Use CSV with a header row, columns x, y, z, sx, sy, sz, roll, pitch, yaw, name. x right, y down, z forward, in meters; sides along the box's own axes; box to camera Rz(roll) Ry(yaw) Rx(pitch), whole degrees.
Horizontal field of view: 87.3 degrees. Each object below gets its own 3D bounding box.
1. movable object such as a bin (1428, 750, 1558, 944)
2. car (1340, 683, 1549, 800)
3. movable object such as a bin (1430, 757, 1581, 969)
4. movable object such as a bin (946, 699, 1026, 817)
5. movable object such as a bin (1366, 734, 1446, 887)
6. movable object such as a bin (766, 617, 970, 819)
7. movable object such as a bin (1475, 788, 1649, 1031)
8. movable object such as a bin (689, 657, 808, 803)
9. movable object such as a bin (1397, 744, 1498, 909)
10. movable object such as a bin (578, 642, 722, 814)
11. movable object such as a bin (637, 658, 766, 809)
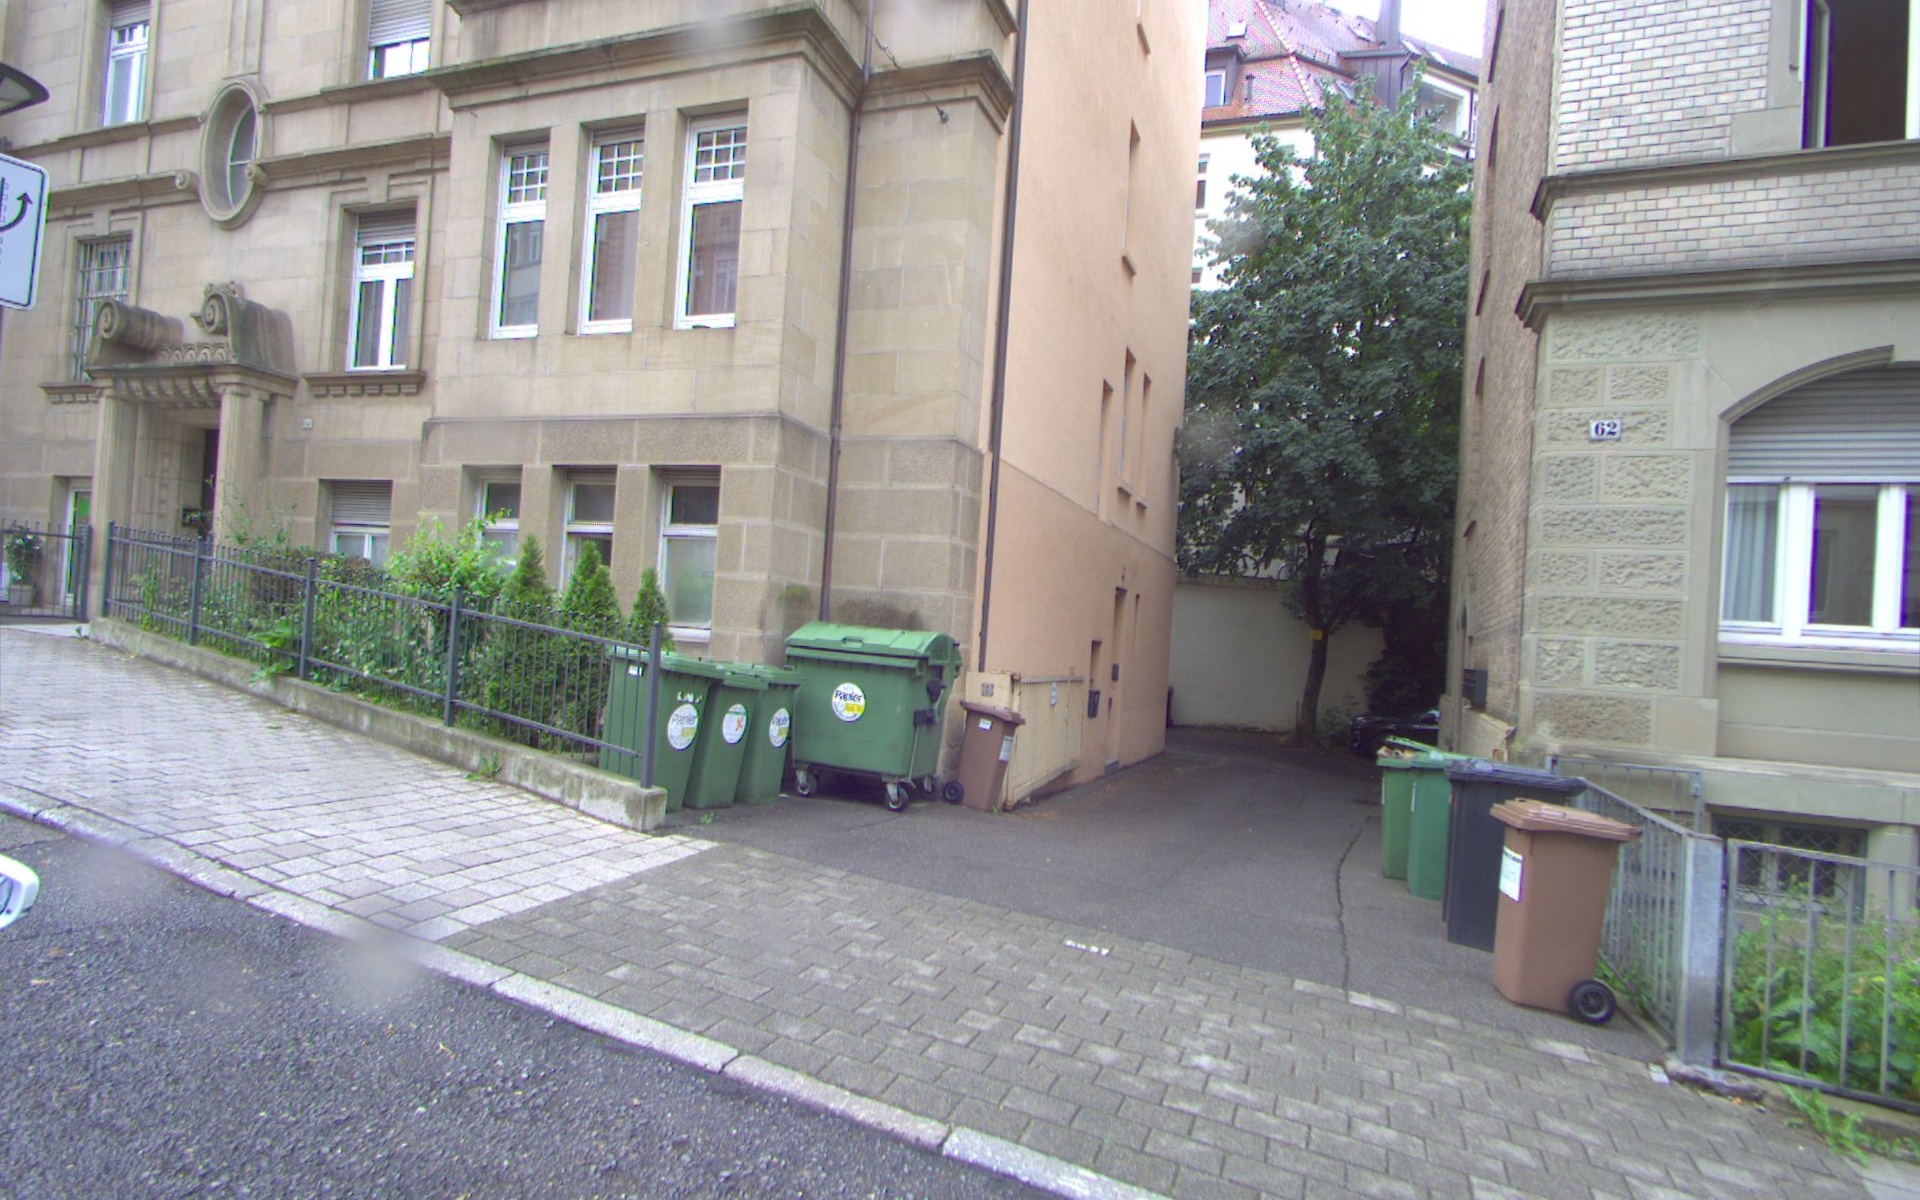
x,y,z,sx,sy,sz,roll,pitch,yaw,name
3.385,1.543,6.430,0.598,1.072,0.501,6,-3,24,movable object such as a bin
10.993,3.137,22.975,3.930,1.530,1.796,13,5,28,car
3.162,1.485,5.845,0.653,1.041,0.529,6,-4,30,movable object such as a bin
0.241,1.398,8.976,0.510,0.952,0.395,6,-4,20,movable object such as a bin
3.598,1.678,8.136,0.469,1.113,0.521,6,-3,23,movable object such as a bin
-0.746,0.979,8.481,1.256,1.446,0.976,6,-4,20,movable object such as a bin
2.812,1.425,4.743,0.527,0.932,0.427,7,2,20,movable object such as a bin
-1.653,1.014,7.909,0.593,1.036,0.540,6,-4,20,movable object such as a bin
3.573,1.639,7.402,0.545,1.072,0.498,6,-3,24,movable object such as a bin
-2.069,0.852,6.759,0.593,1.036,0.540,6,-4,20,movable object such as a bin
-1.864,0.959,7.300,0.593,0.978,0.540,6,-4,20,movable object such as a bin
